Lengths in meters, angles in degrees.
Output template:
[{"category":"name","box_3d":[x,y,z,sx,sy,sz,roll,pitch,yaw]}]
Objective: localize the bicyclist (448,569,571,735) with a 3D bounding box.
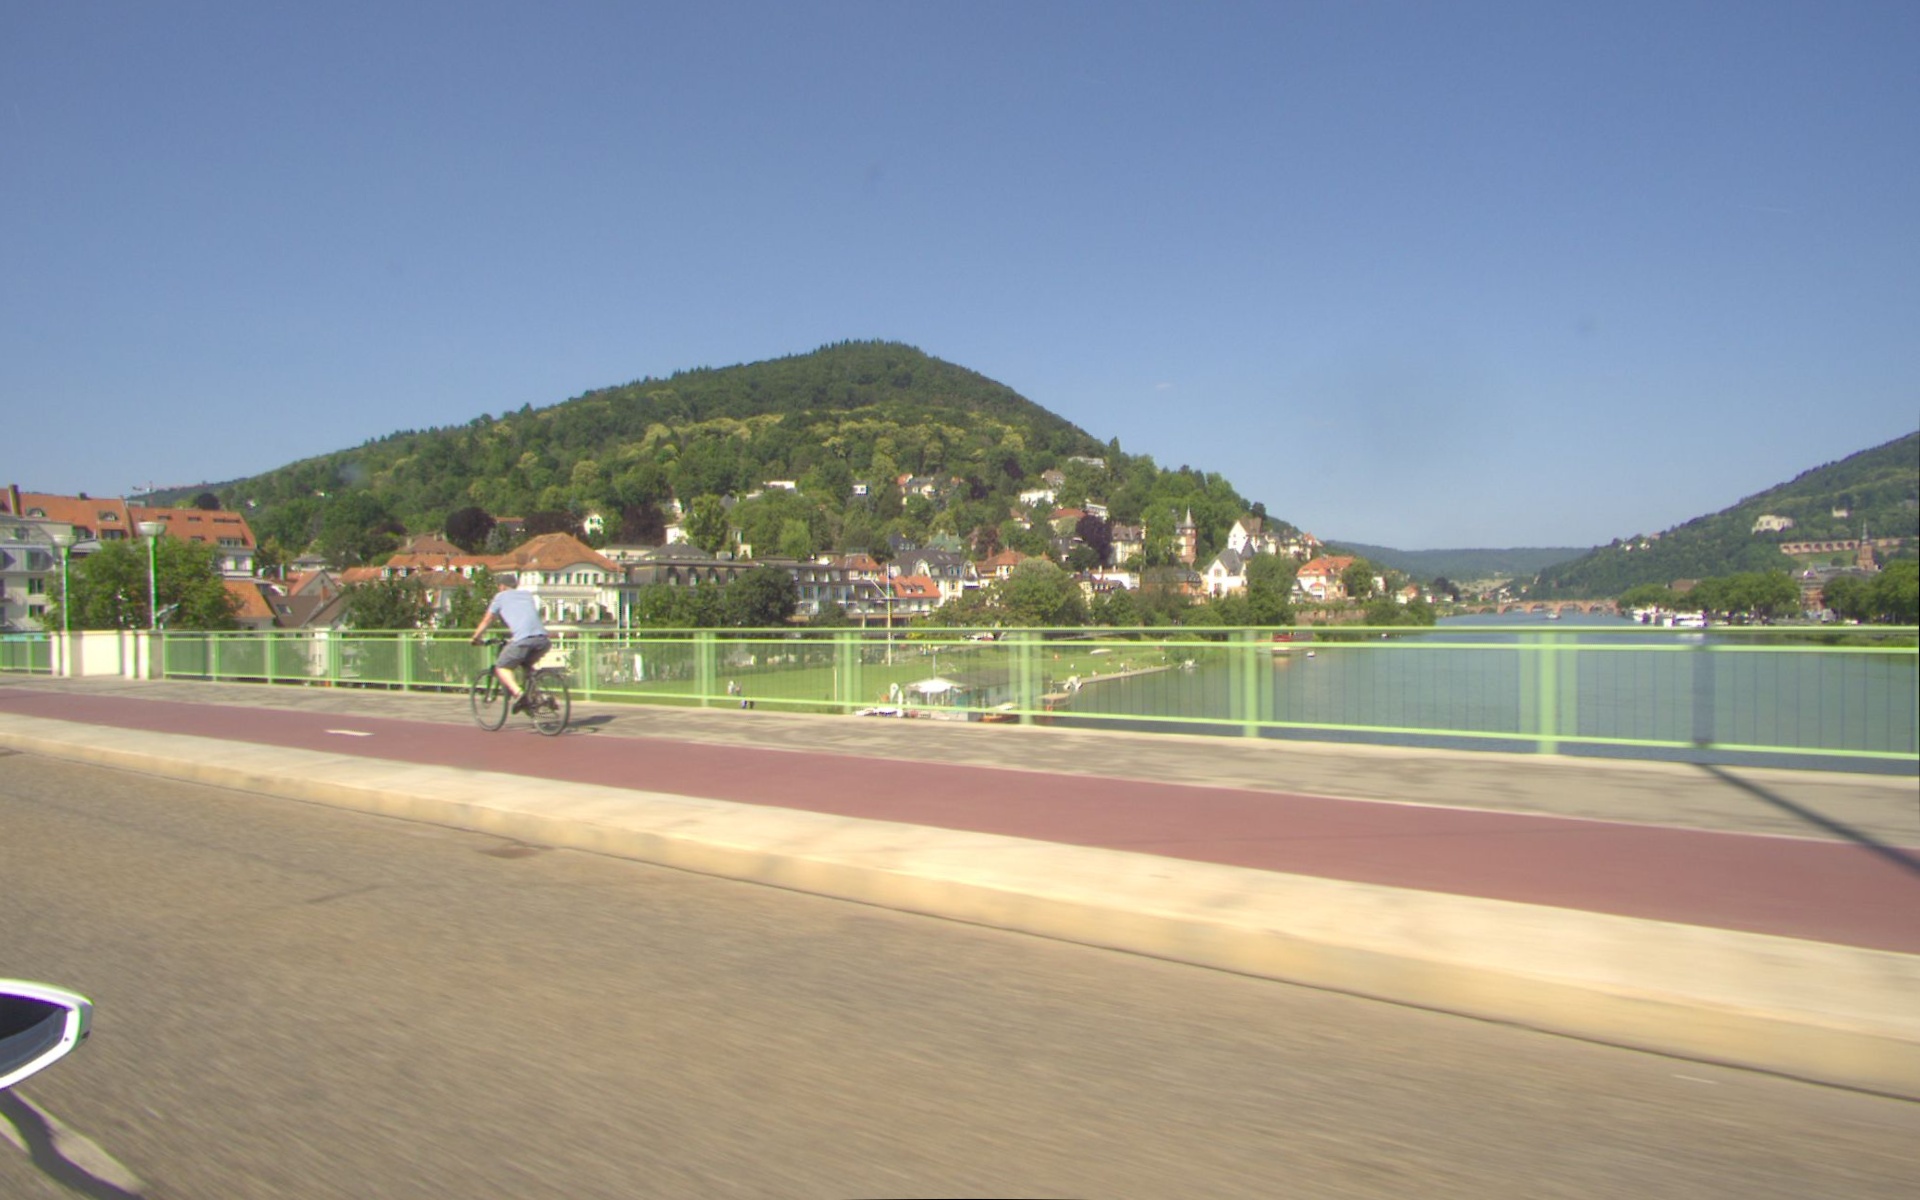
[{"category":"bicyclist","box_3d":[-5.019,0.554,11.166,1.132,1.767,0.672,0,1,28]}]

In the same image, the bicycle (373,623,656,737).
[{"category":"bicycle","box_3d":[-5.056,0.826,11.205,3.686,1.111,0.791,0,1,28]}]
